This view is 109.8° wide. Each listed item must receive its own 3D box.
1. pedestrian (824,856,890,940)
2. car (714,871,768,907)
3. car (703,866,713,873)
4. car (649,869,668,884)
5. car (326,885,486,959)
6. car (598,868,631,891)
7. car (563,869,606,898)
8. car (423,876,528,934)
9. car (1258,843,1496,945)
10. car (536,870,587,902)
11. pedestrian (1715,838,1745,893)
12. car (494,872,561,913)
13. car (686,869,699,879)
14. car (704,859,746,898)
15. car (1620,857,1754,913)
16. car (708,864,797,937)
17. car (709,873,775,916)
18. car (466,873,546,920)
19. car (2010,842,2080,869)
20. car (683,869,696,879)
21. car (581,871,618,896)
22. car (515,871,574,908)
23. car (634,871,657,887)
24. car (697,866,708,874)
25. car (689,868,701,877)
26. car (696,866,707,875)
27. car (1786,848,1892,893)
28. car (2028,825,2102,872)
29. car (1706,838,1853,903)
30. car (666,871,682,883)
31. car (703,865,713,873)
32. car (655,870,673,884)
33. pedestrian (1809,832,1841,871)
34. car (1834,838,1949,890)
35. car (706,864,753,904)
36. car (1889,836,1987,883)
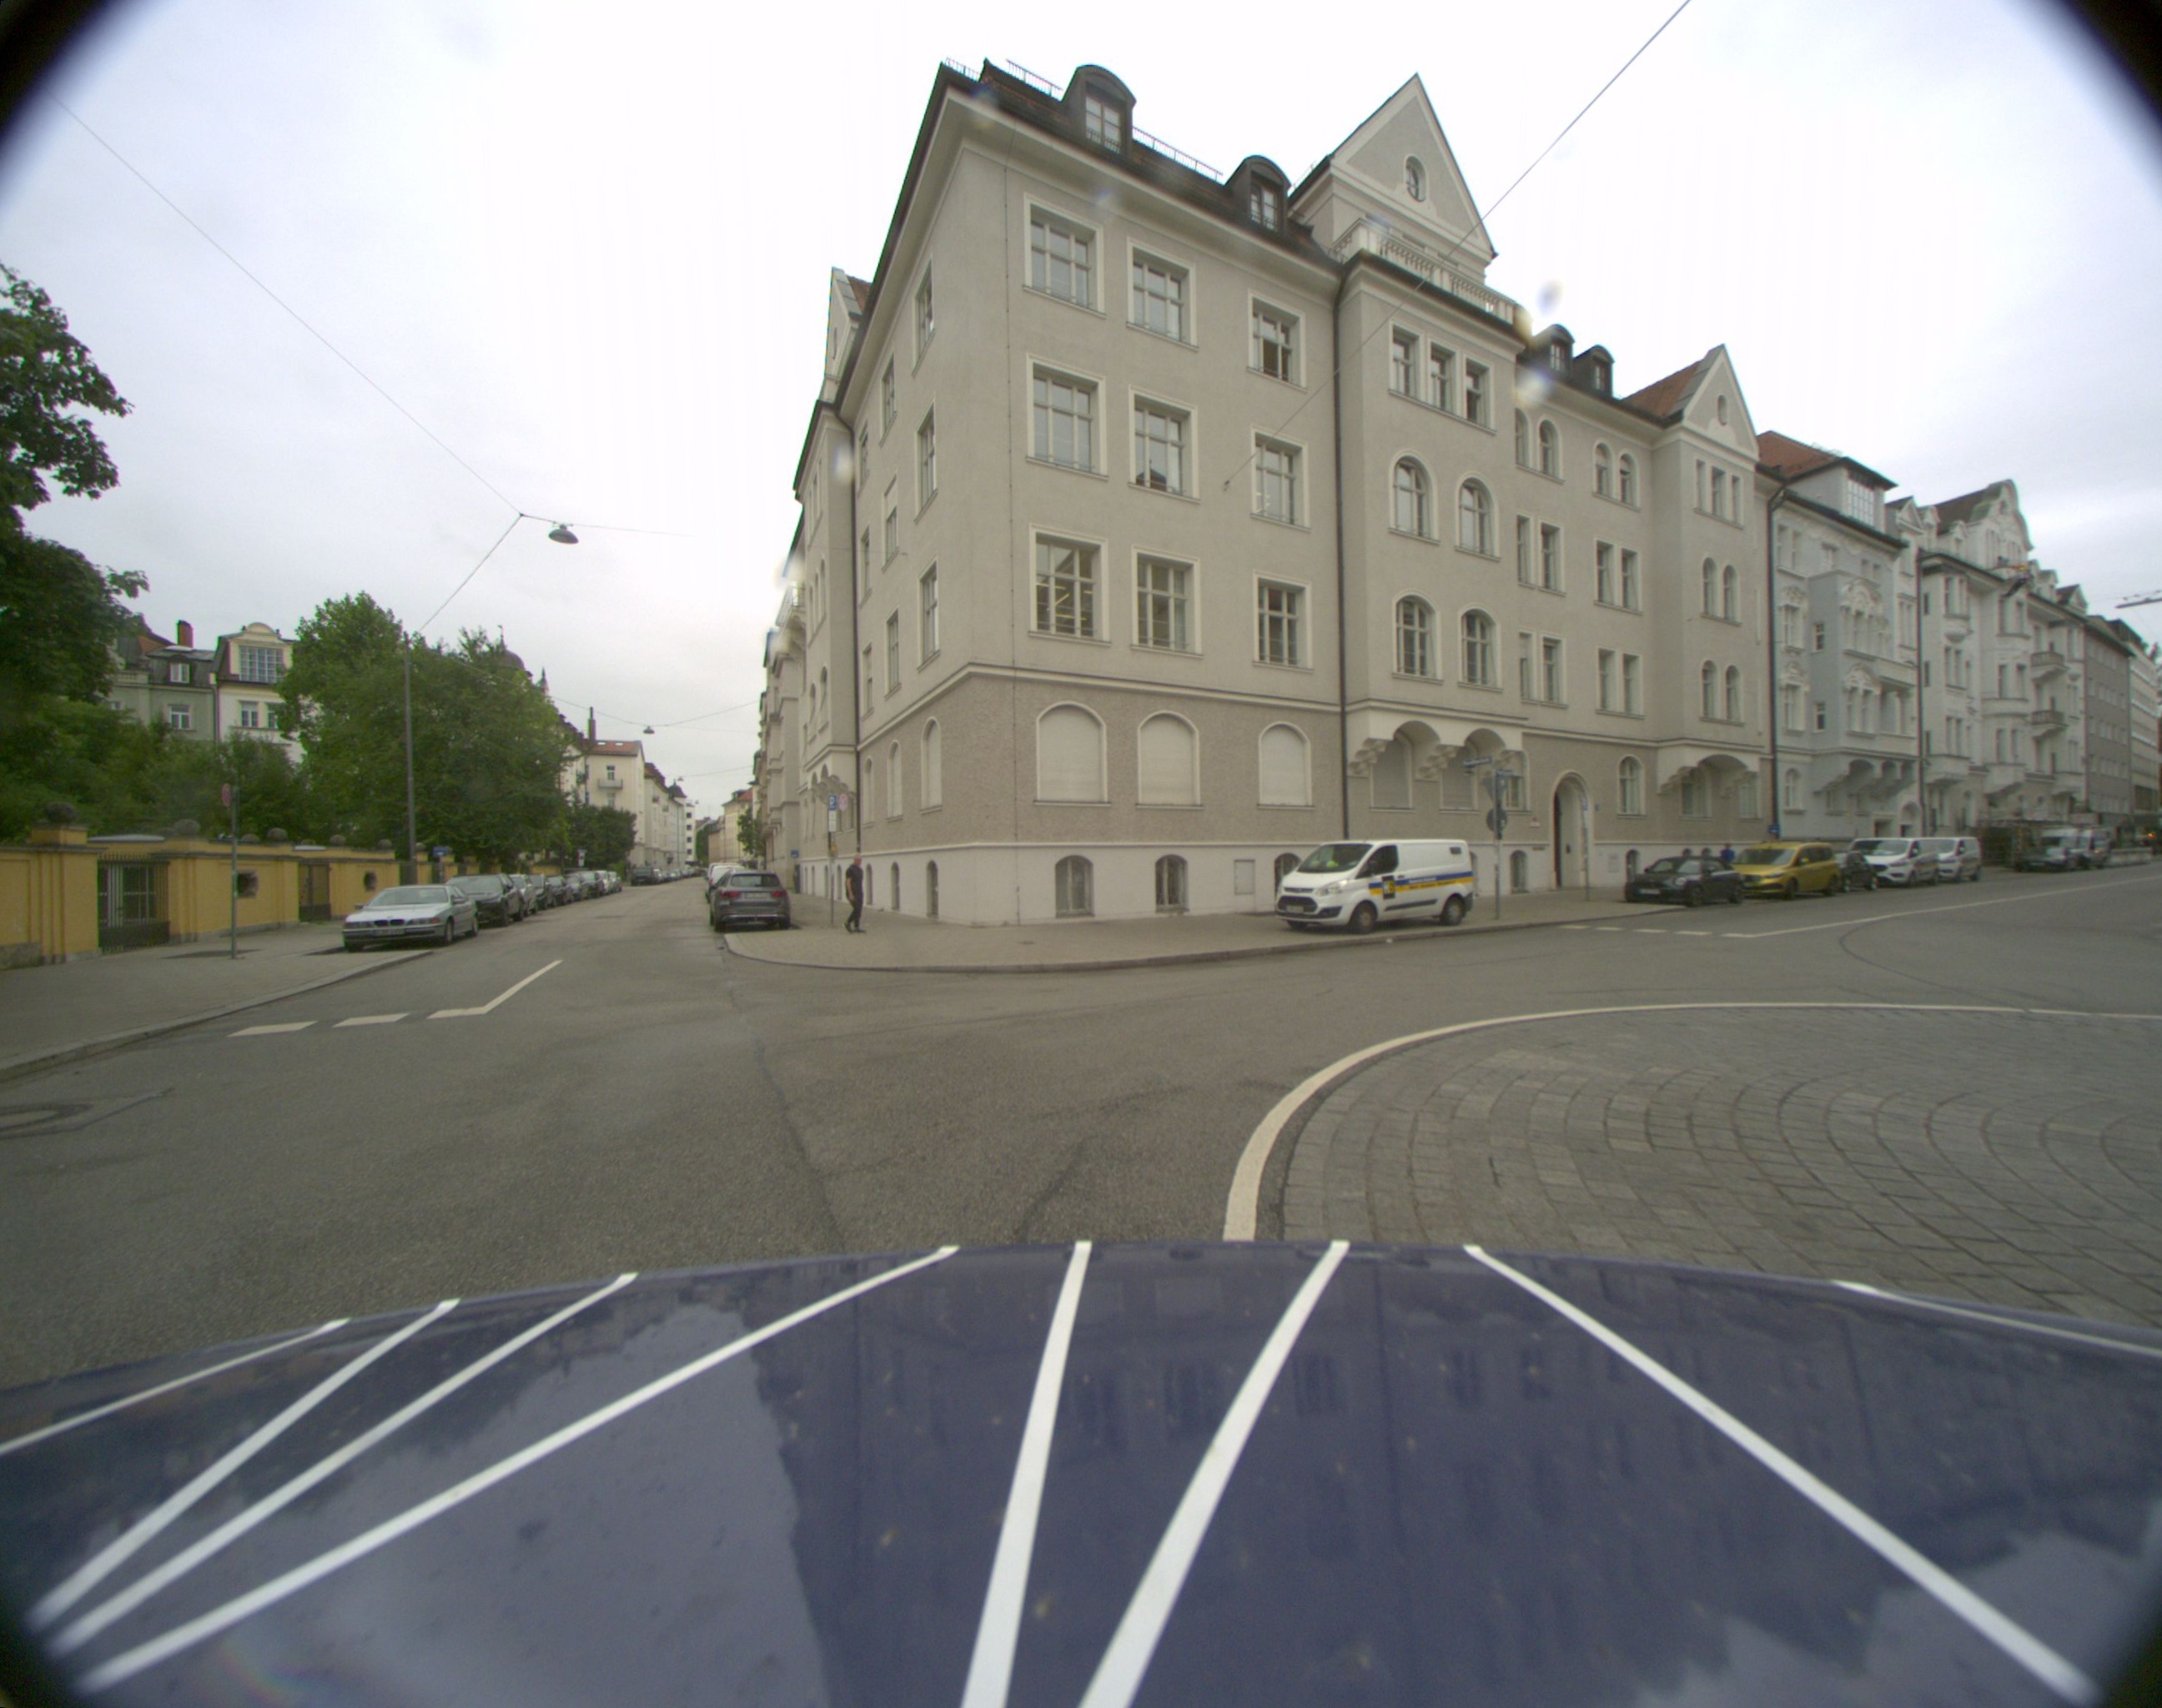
[{"bbox_3d":[-4.936,0.947,16.760,0.928,1.790,1.001,-1,0,22],"label":"pedestrian"},{"bbox_3d":[-14.930,1.499,33.298,1.800,1.396,3.831,-1,0,-29],"label":"car"},{"bbox_3d":[-76.506,3.178,155.867,1.799,1.538,3.602,-1,0,-28],"label":"car"},{"bbox_3d":[-46.702,2.478,84.060,1.799,1.538,3.602,-1,0,-28],"label":"car"},{"bbox_3d":[-15.901,1.517,18.188,1.804,1.360,4.456,-1,0,-27],"label":"car"},{"bbox_3d":[-33.348,1.791,54.366,1.799,1.538,3.297,-1,0,-28],"label":"car"},{"bbox_3d":[-29.285,1.710,44.865,1.799,1.538,3.297,-1,0,-28],"label":"car"},{"bbox_3d":[-18.514,1.483,23.409,1.799,1.538,3.949,-1,0,-28],"label":"car"},{"bbox_3d":[6.625,0.753,16.821,5.382,1.911,1.940,-1,1,-29],"label":"car"},{"bbox_3d":[-26.898,1.631,39.427,1.799,1.538,3.297,-1,0,-28],"label":"car"},{"bbox_3d":[23.986,0.432,28.079,0.728,2.002,0.584,-1,0,-26],"label":"pedestrian"},{"bbox_3d":[-23.266,1.582,32.061,1.799,1.538,3.297,-1,0,-28],"label":"car"},{"bbox_3d":[-67.781,3.470,132.550,1.799,1.538,3.602,-1,0,-28],"label":"car"},{"bbox_3d":[-19.978,1.345,42.550,1.821,2.023,4.025,-1,0,-29],"label":"car"},{"bbox_3d":[17.930,0.858,22.448,3.833,1.436,1.714,-1,0,-28],"label":"car"},{"bbox_3d":[-9.316,1.204,21.373,1.895,1.785,4.241,-1,0,-28],"label":"car"},{"bbox_3d":[-12.945,1.462,28.891,1.895,1.396,4.241,-1,0,-29],"label":"car"},{"bbox_3d":[-21.586,1.533,28.679,1.799,1.538,3.949,-1,0,-28],"label":"car"},{"bbox_3d":[54.279,0.080,42.777,4.250,1.399,1.790,-1,0,-29],"label":"car"},{"bbox_3d":[-62.778,3.153,121.751,1.799,1.538,3.602,-1,0,-28],"label":"car"},{"bbox_3d":[-31.471,1.916,49.724,1.799,1.538,3.297,-1,0,-28],"label":"car"},{"bbox_3d":[-24.791,1.603,35.210,1.799,1.538,3.297,-1,0,-28],"label":"car"},{"bbox_3d":[-42.650,2.422,74.516,1.799,1.538,3.602,-1,0,-28],"label":"car"},{"bbox_3d":[-75.008,3.107,150.510,1.799,1.538,3.602,-1,0,-28],"label":"car"},{"bbox_3d":[-69.415,3.396,136.754,1.799,1.538,3.602,-1,0,-28],"label":"car"},{"bbox_3d":[-73.069,3.192,146.319,1.799,1.538,3.602,-1,0,-28],"label":"car"},{"bbox_3d":[27.598,0.570,27.647,3.890,1.505,1.635,-1,0,-28],"label":"car"},{"bbox_3d":[59.757,-0.379,46.136,5.453,2.673,2.078,-1,2,-31],"label":"car"},{"bbox_3d":[22.867,0.484,24.872,4.577,1.907,1.996,-1,0,-26],"label":"car"},{"bbox_3d":[-53.139,3.016,99.288,1.799,1.538,3.602,-1,0,-28],"label":"car"},{"bbox_3d":[-79.480,3.226,161.822,1.799,1.538,3.602,-1,0,-28],"label":"car"},{"bbox_3d":[-48.302,2.617,88.044,1.799,1.538,3.602,-1,0,-28],"label":"car"},{"bbox_3d":[35.843,-0.118,36.609,0.747,1.892,0.853,-2,1,-26],"label":"pedestrian"},{"bbox_3d":[32.469,0.373,30.421,4.893,1.907,1.995,-1,0,-29],"label":"car"},{"bbox_3d":[-17.146,1.412,36.980,1.800,1.773,3.831,-1,0,-29],"label":"car"},{"bbox_3d":[37.970,0.220,33.628,4.886,1.907,1.995,-1,0,-31],"label":"car"}]
